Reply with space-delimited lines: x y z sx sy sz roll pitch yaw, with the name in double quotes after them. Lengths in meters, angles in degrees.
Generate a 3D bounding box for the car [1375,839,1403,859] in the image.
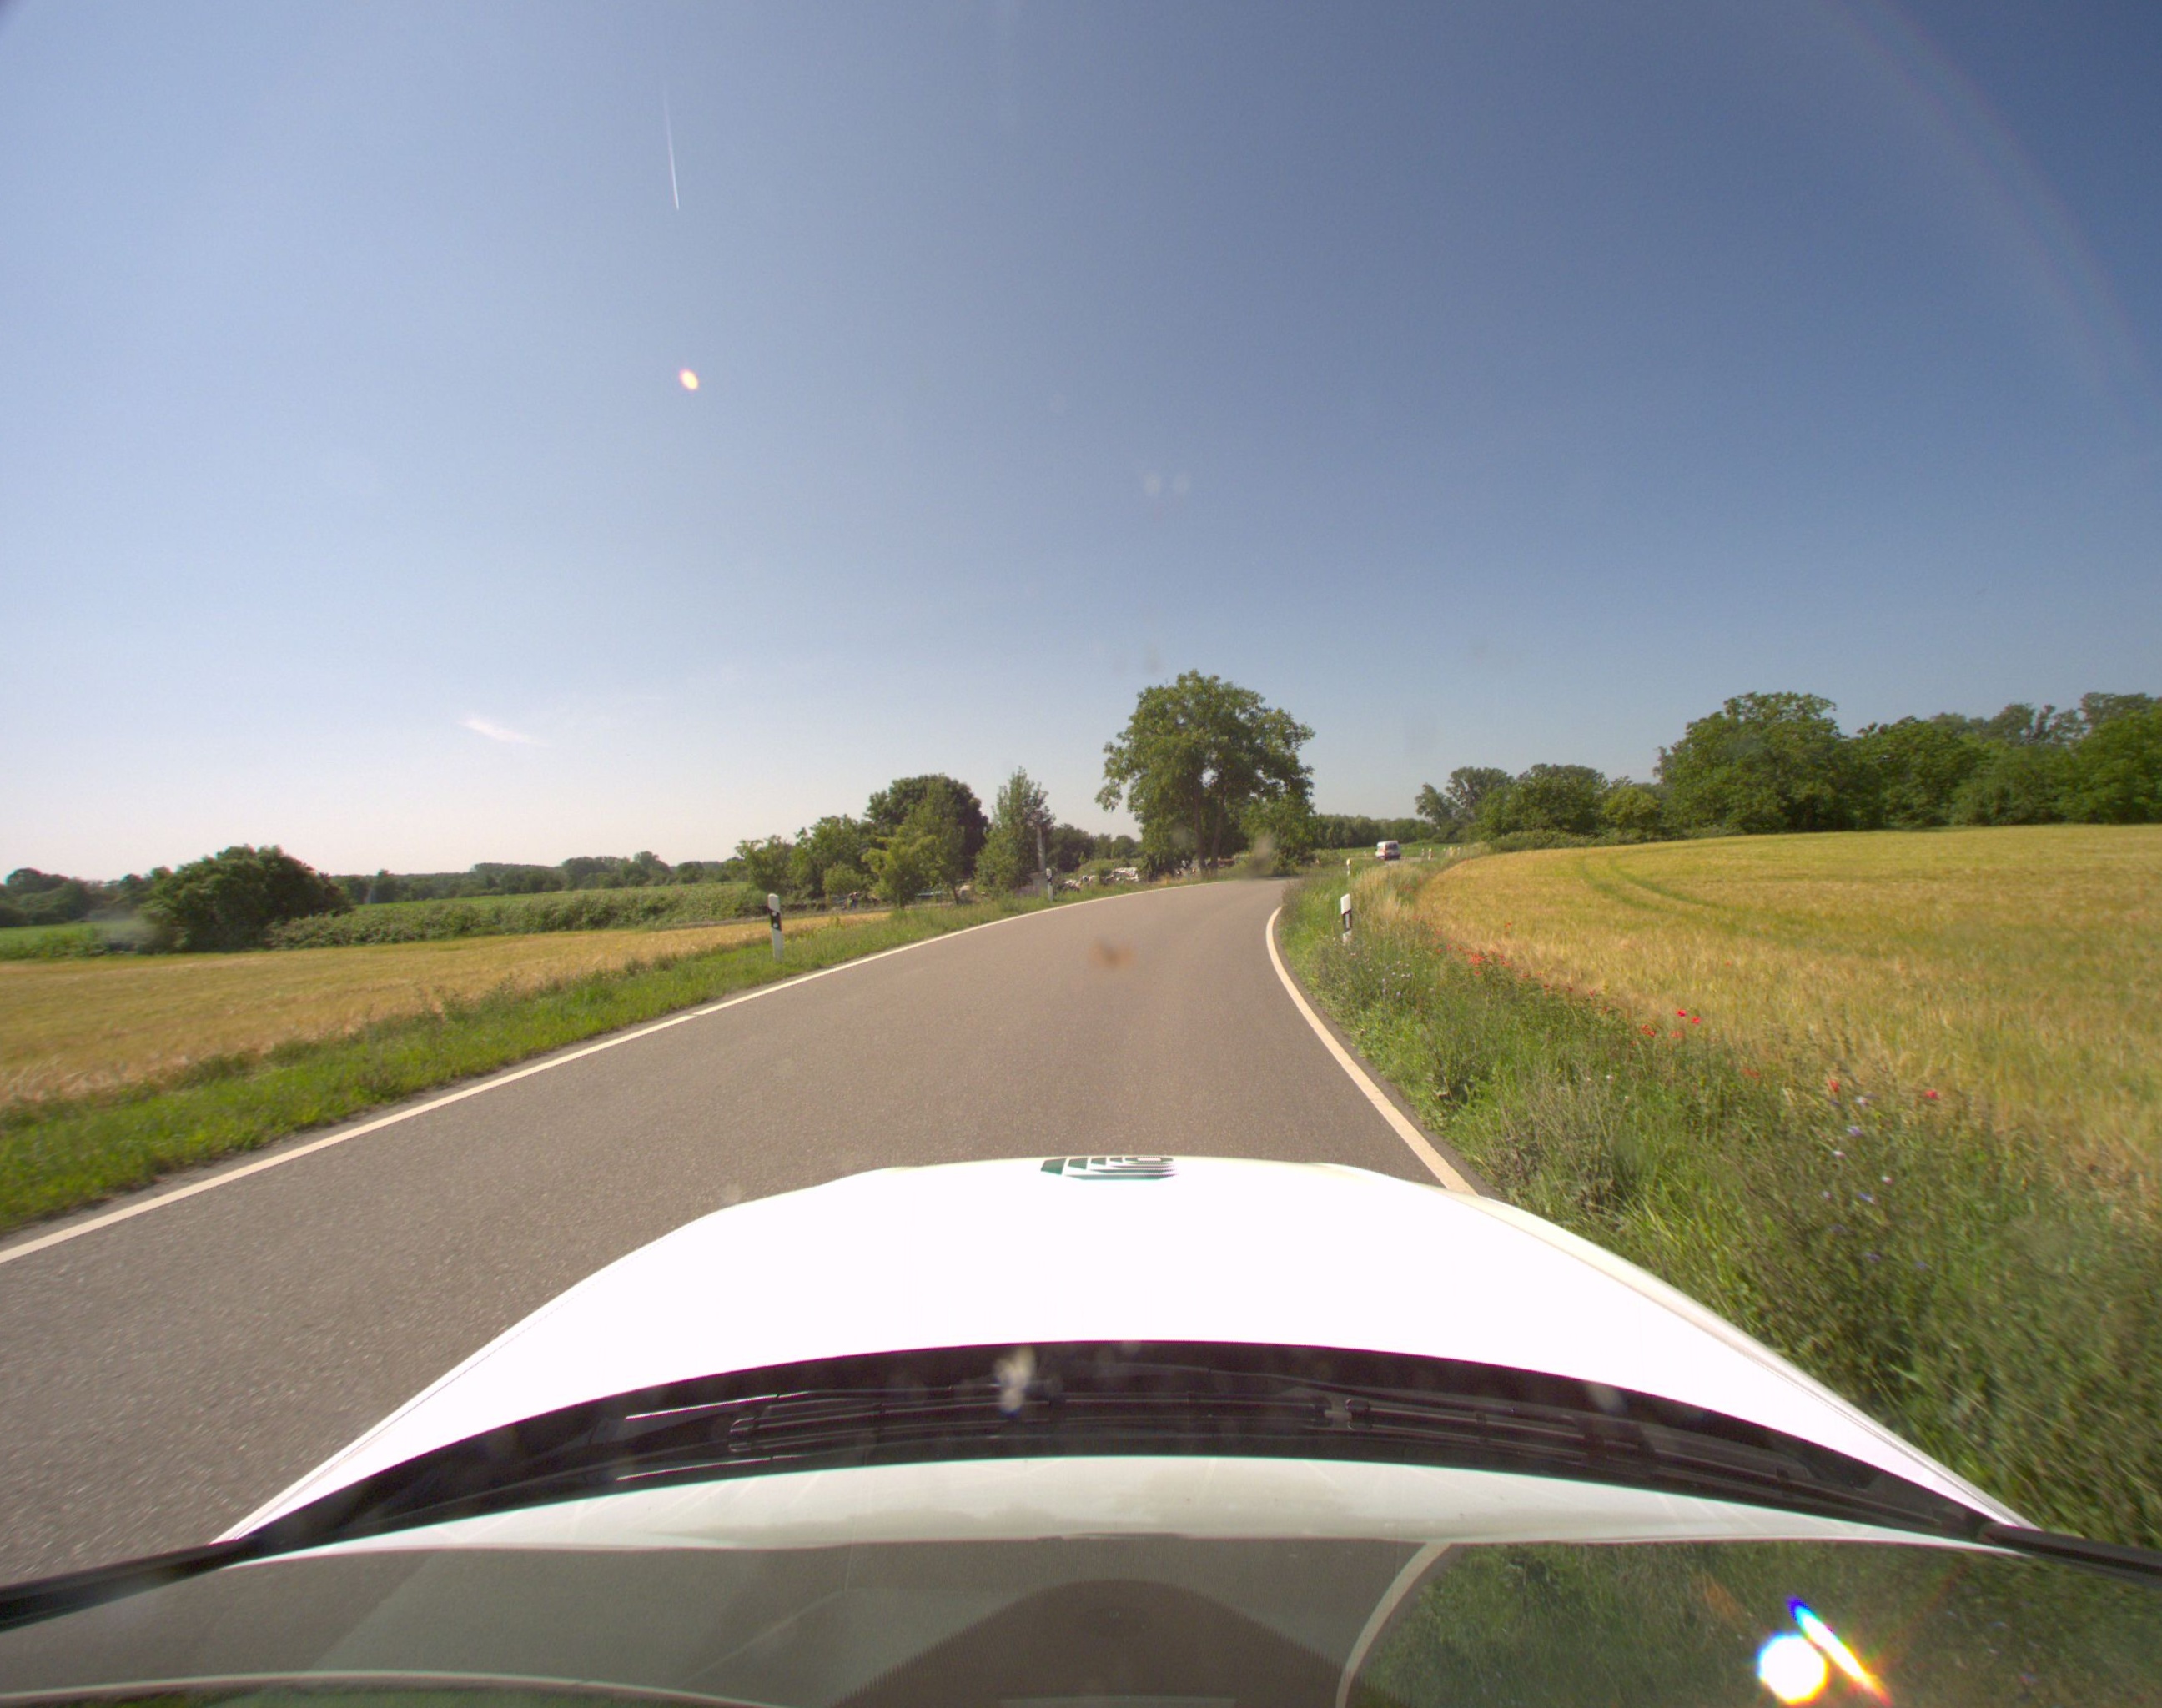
40.054 -0.668 106.175 2.092 2.367 5.700 -3 0 8 "car"
